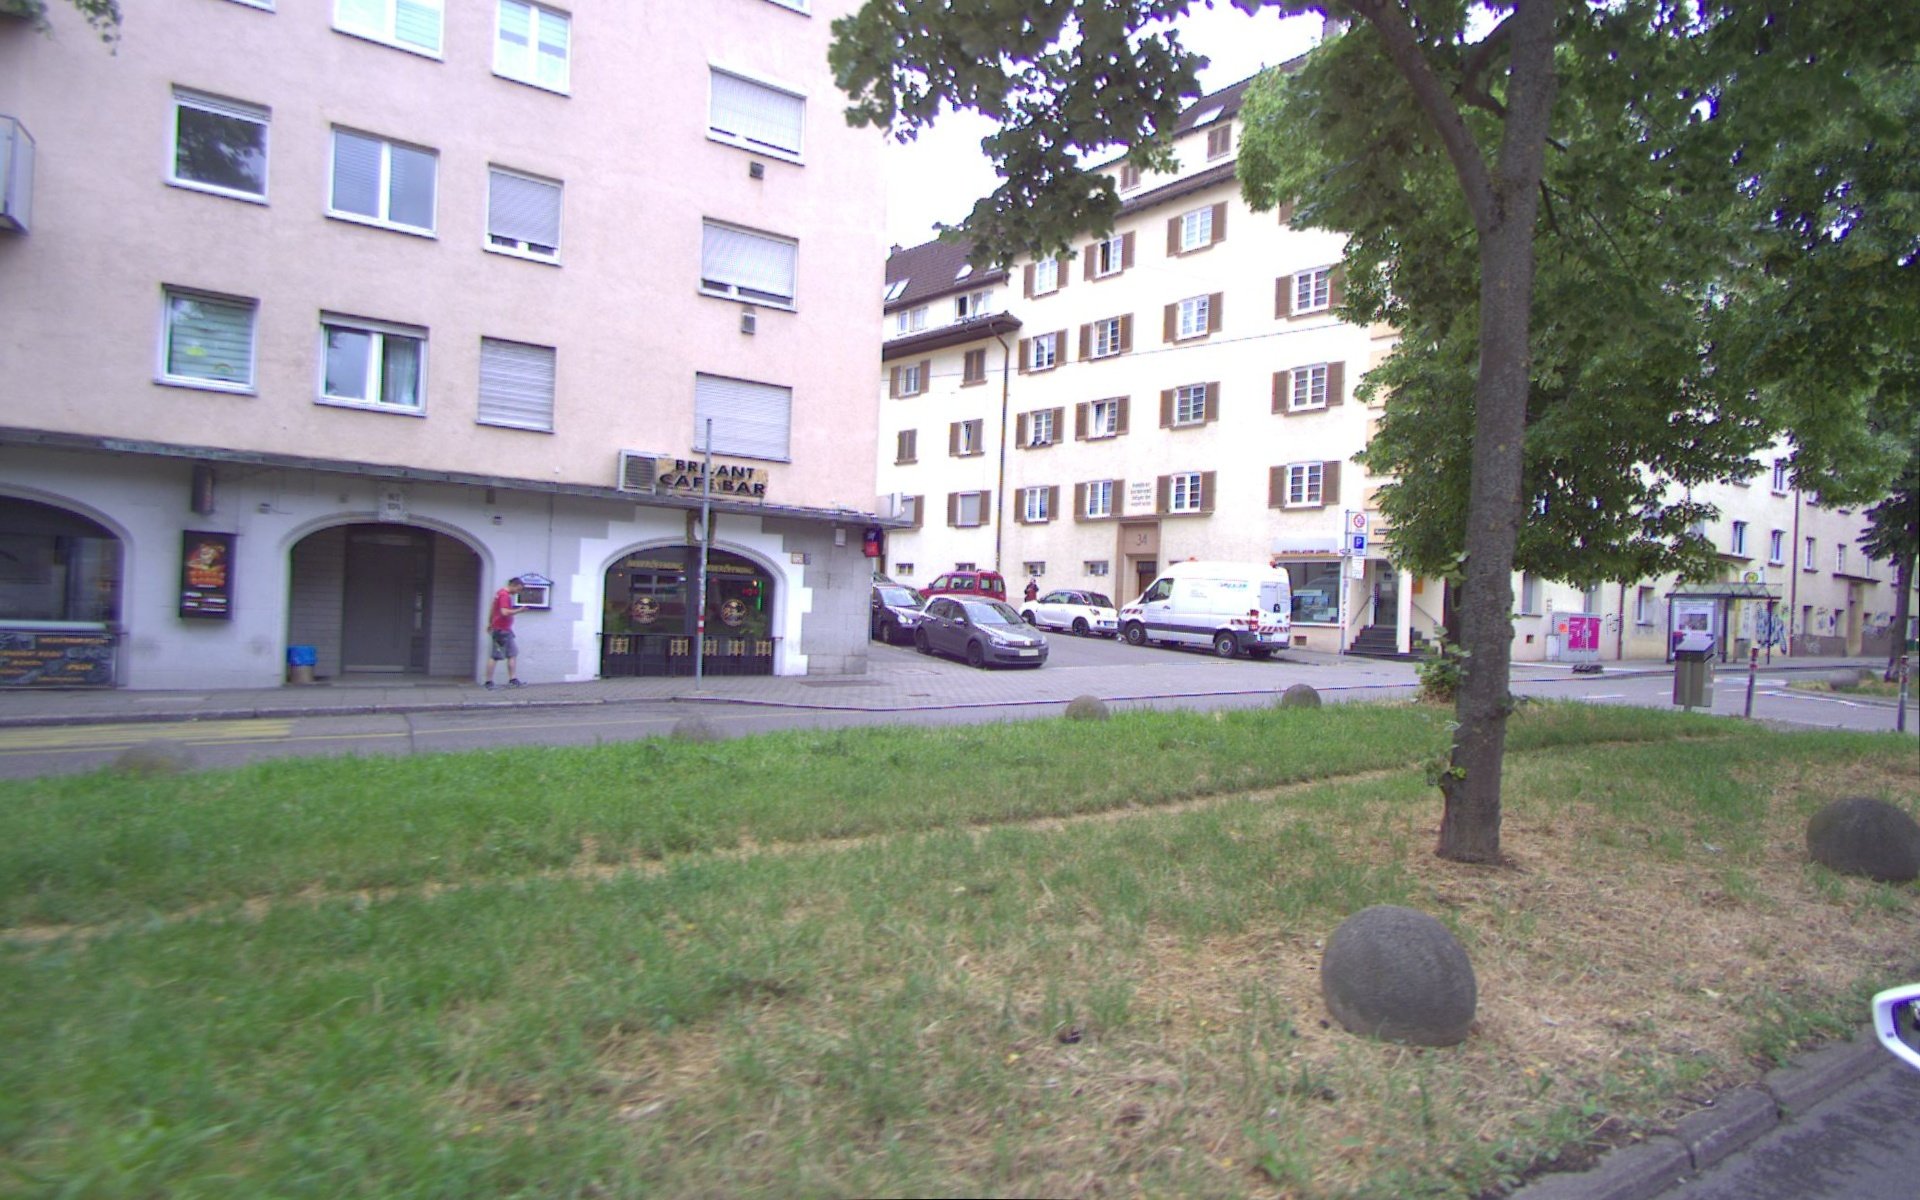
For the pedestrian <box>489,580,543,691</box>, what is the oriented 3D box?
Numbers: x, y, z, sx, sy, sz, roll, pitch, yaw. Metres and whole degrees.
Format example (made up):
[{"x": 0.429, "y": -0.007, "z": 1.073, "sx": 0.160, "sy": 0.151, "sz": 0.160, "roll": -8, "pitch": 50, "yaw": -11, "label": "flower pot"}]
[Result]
[{"x": -6.928, "y": 0.541, "z": 15.675, "sx": 0.693, "sy": 1.688, "sz": 0.530, "roll": 1, "pitch": 0, "yaw": -30, "label": "pedestrian"}]

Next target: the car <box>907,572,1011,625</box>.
[{"x": -0.096, "y": -0.082, "z": 37.923, "sx": 1.792, "sy": 1.848, "sz": 3.953, "roll": 1, "pitch": 1, "yaw": -40, "label": "car"}]

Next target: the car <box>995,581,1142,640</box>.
[{"x": 3.585, "y": 0.310, "z": 33.776, "sx": 1.986, "sy": 1.658, "sz": 4.710, "roll": 1, "pitch": 2, "yaw": -43, "label": "car"}]

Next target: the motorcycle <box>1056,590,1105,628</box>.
[{"x": 4.501, "y": 0.335, "z": 37.716, "sx": 0.678, "sy": 1.352, "sz": 1.843, "roll": 1, "pitch": 1, "yaw": -39, "label": "motorcycle"}]

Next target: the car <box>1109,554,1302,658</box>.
[{"x": 7.110, "y": 0.094, "z": 29.546, "sx": 2.161, "sy": 2.773, "sz": 5.124, "roll": 1, "pitch": 1, "yaw": -43, "label": "car"}]

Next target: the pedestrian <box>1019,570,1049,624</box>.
[{"x": 2.825, "y": -0.104, "z": 38.337, "sx": 0.809, "sy": 2.040, "sz": 0.807, "roll": 1, "pitch": 1, "yaw": -32, "label": "pedestrian"}]

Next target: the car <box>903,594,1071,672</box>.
[{"x": 0.510, "y": 0.698, "z": 23.571, "sx": 2.023, "sy": 1.439, "sz": 4.267, "roll": 1, "pitch": 3, "yaw": -29, "label": "car"}]

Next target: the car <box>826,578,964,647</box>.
[{"x": -1.854, "y": 0.307, "z": 27.583, "sx": 1.980, "sy": 1.439, "sz": 3.960, "roll": 2, "pitch": 5, "yaw": -35, "label": "car"}]

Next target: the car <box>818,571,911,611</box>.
[{"x": -4.033, "y": -0.394, "z": 41.971, "sx": 1.984, "sy": 1.483, "sz": 3.953, "roll": 1, "pitch": 1, "yaw": -40, "label": "car"}]
